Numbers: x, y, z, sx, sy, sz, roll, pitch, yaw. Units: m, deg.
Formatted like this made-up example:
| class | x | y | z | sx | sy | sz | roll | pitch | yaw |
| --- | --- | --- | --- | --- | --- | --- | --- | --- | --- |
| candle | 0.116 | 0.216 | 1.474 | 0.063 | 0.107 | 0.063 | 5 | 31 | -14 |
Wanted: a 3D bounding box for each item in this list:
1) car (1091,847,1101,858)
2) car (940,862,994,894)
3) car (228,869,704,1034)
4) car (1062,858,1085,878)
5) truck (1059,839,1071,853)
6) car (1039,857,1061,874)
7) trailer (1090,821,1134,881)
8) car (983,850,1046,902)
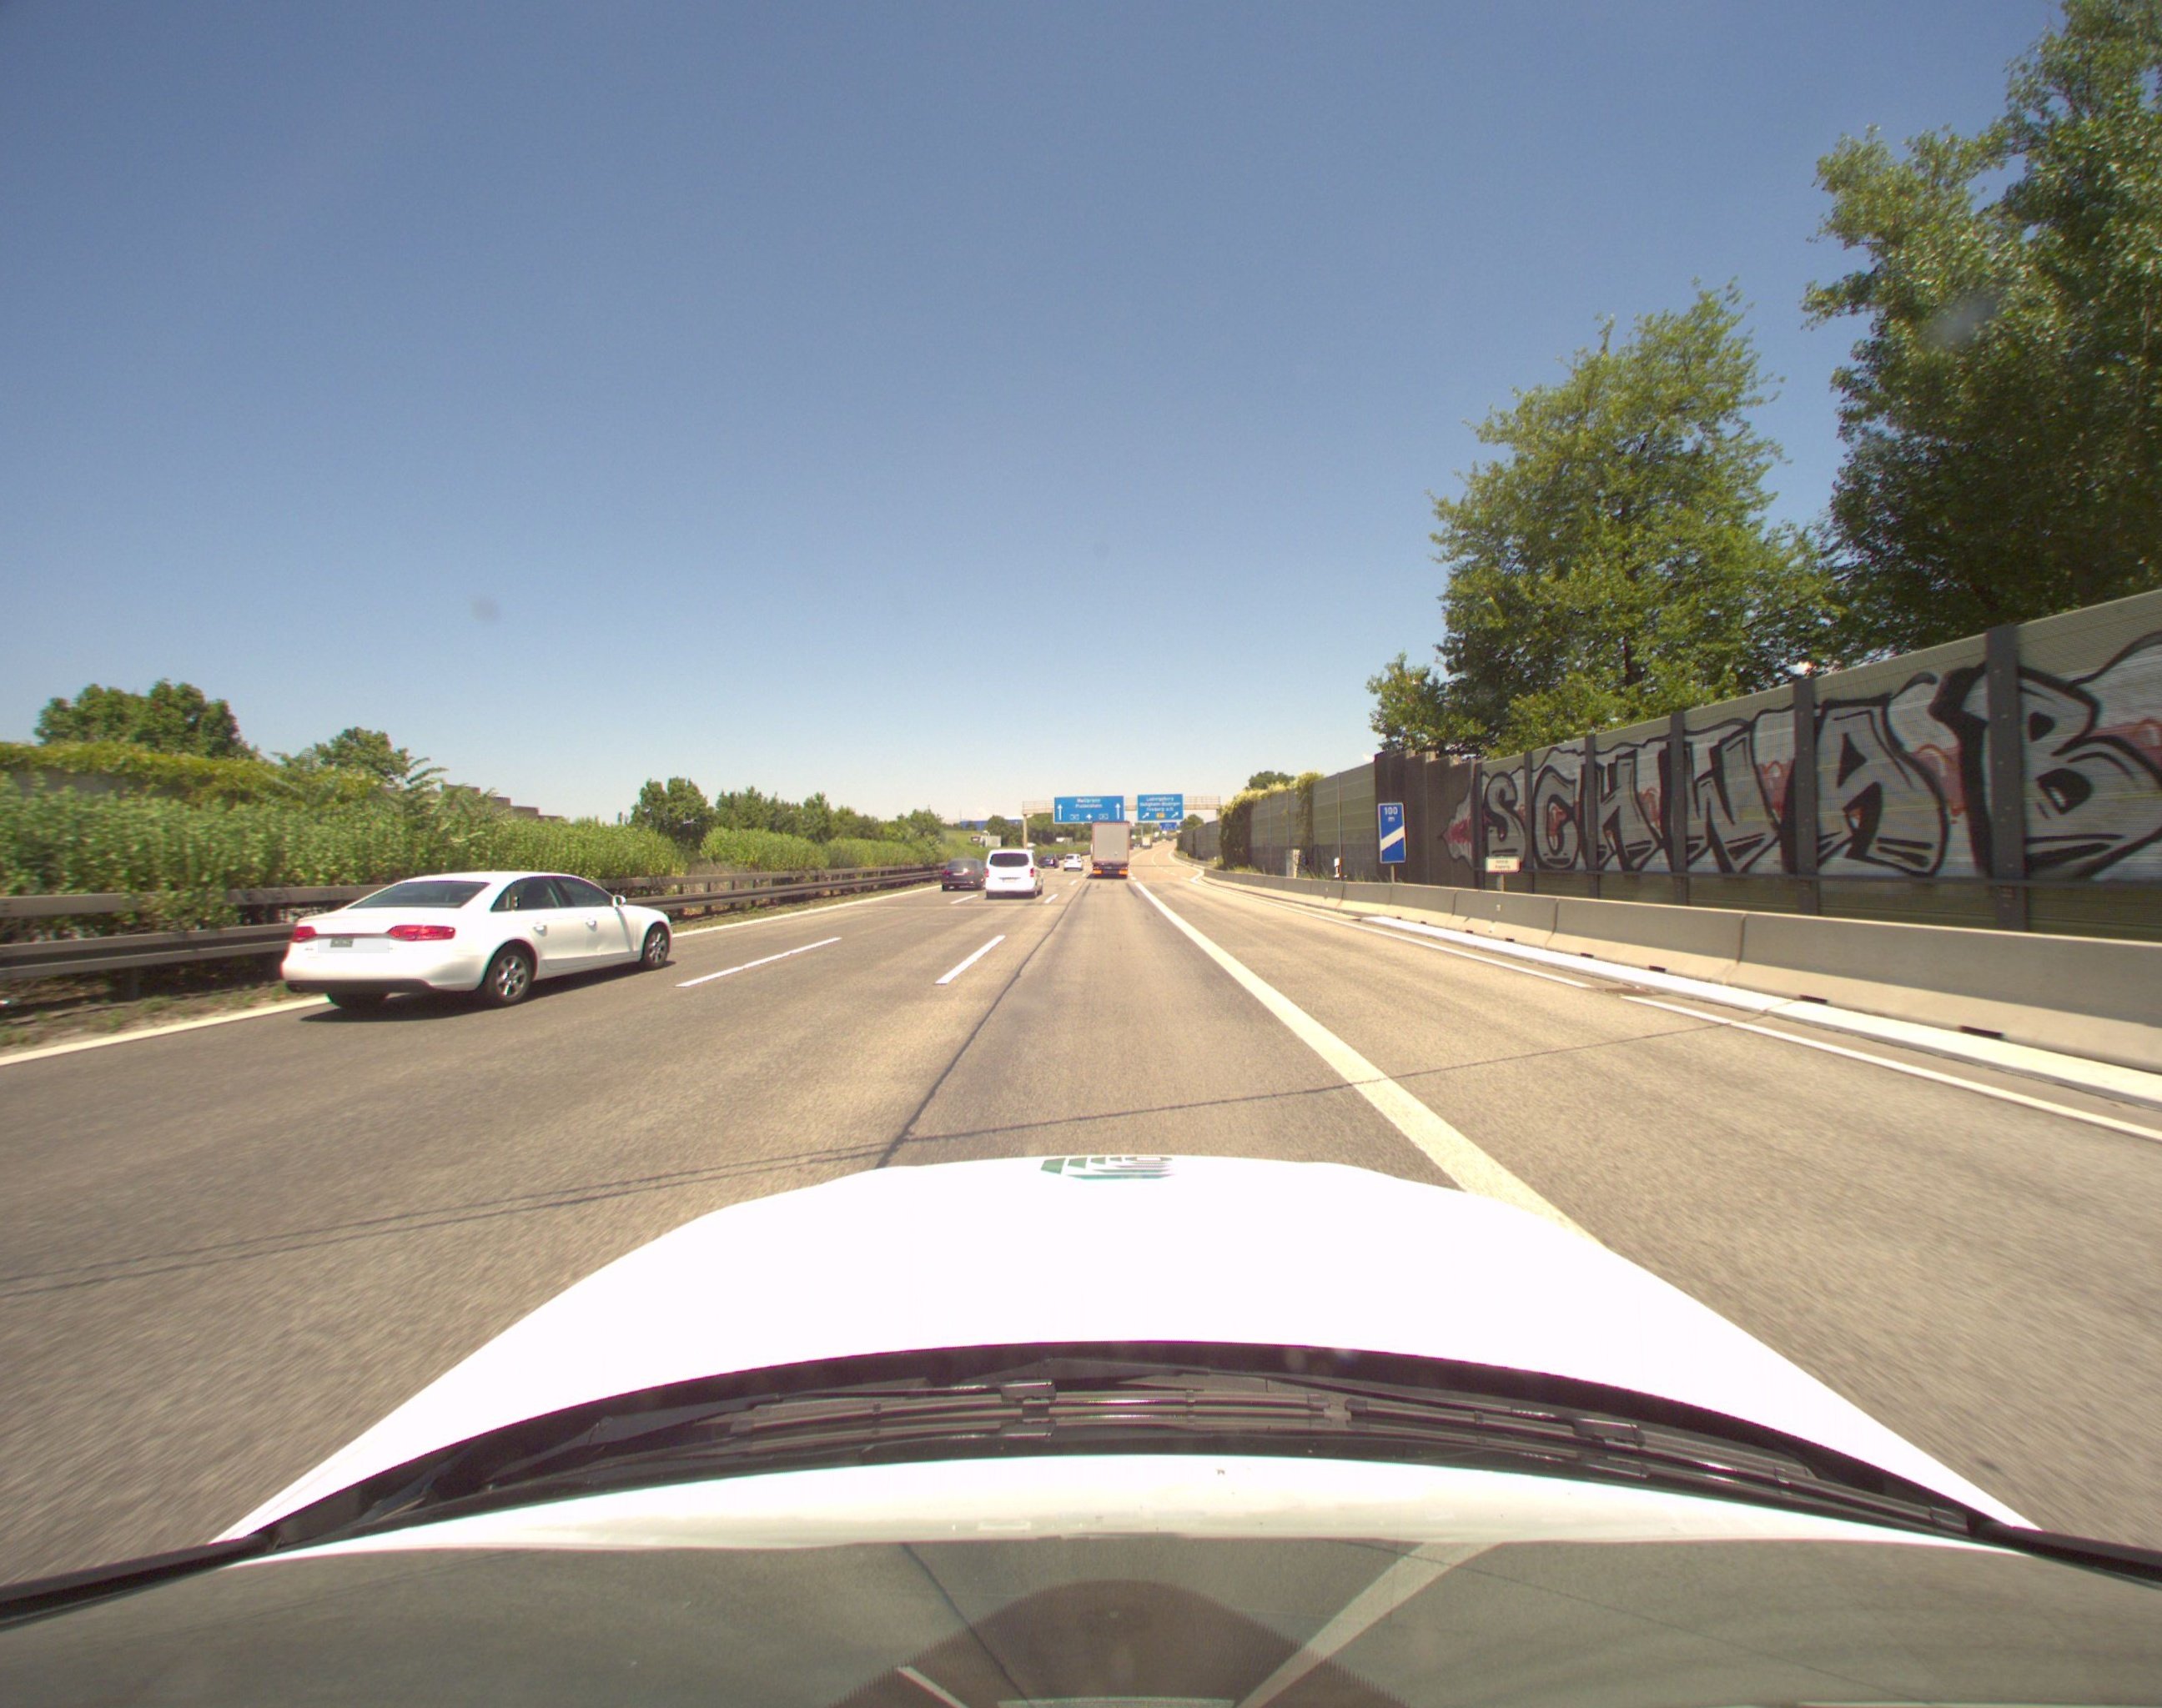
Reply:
| class | x | y | z | sx | sy | sz | roll | pitch | yaw |
| --- | --- | --- | --- | --- | --- | --- | --- | --- | --- |
| car | 3.241 | -0.270 | 176.038 | 1.986 | 2.374 | 4.001 | -1 | -1 | 1 |
| car | -5.438 | 1.122 | 39.578 | 1.750 | 1.408 | 5.041 | -1 | 0 | 1 |
| car | -6.844 | 0.948 | 10.050 | 1.869 | 1.440 | 5.127 | 0 | 0 | 1 |
| car | -0.684 | 1.347 | 79.923 | 1.897 | 1.851 | 4.634 | -1 | 0 | 3 |
| truck | -4.784 | -2.425 | 247.386 | 2.989 | 3.967 | 10.331 | 0 | 1 | 3 |
| car | -3.387 | 1.243 | 89.768 | 1.896 | 1.689 | 4.635 | -1 | 0 | 3 |
| trailer | 2.374 | -0.181 | 61.095 | 2.916 | 4.015 | 12.046 | -1 | 0 | 3 |
| car | -2.540 | 0.819 | 32.162 | 1.923 | 1.851 | 4.694 | -1 | 0 | 1 |
